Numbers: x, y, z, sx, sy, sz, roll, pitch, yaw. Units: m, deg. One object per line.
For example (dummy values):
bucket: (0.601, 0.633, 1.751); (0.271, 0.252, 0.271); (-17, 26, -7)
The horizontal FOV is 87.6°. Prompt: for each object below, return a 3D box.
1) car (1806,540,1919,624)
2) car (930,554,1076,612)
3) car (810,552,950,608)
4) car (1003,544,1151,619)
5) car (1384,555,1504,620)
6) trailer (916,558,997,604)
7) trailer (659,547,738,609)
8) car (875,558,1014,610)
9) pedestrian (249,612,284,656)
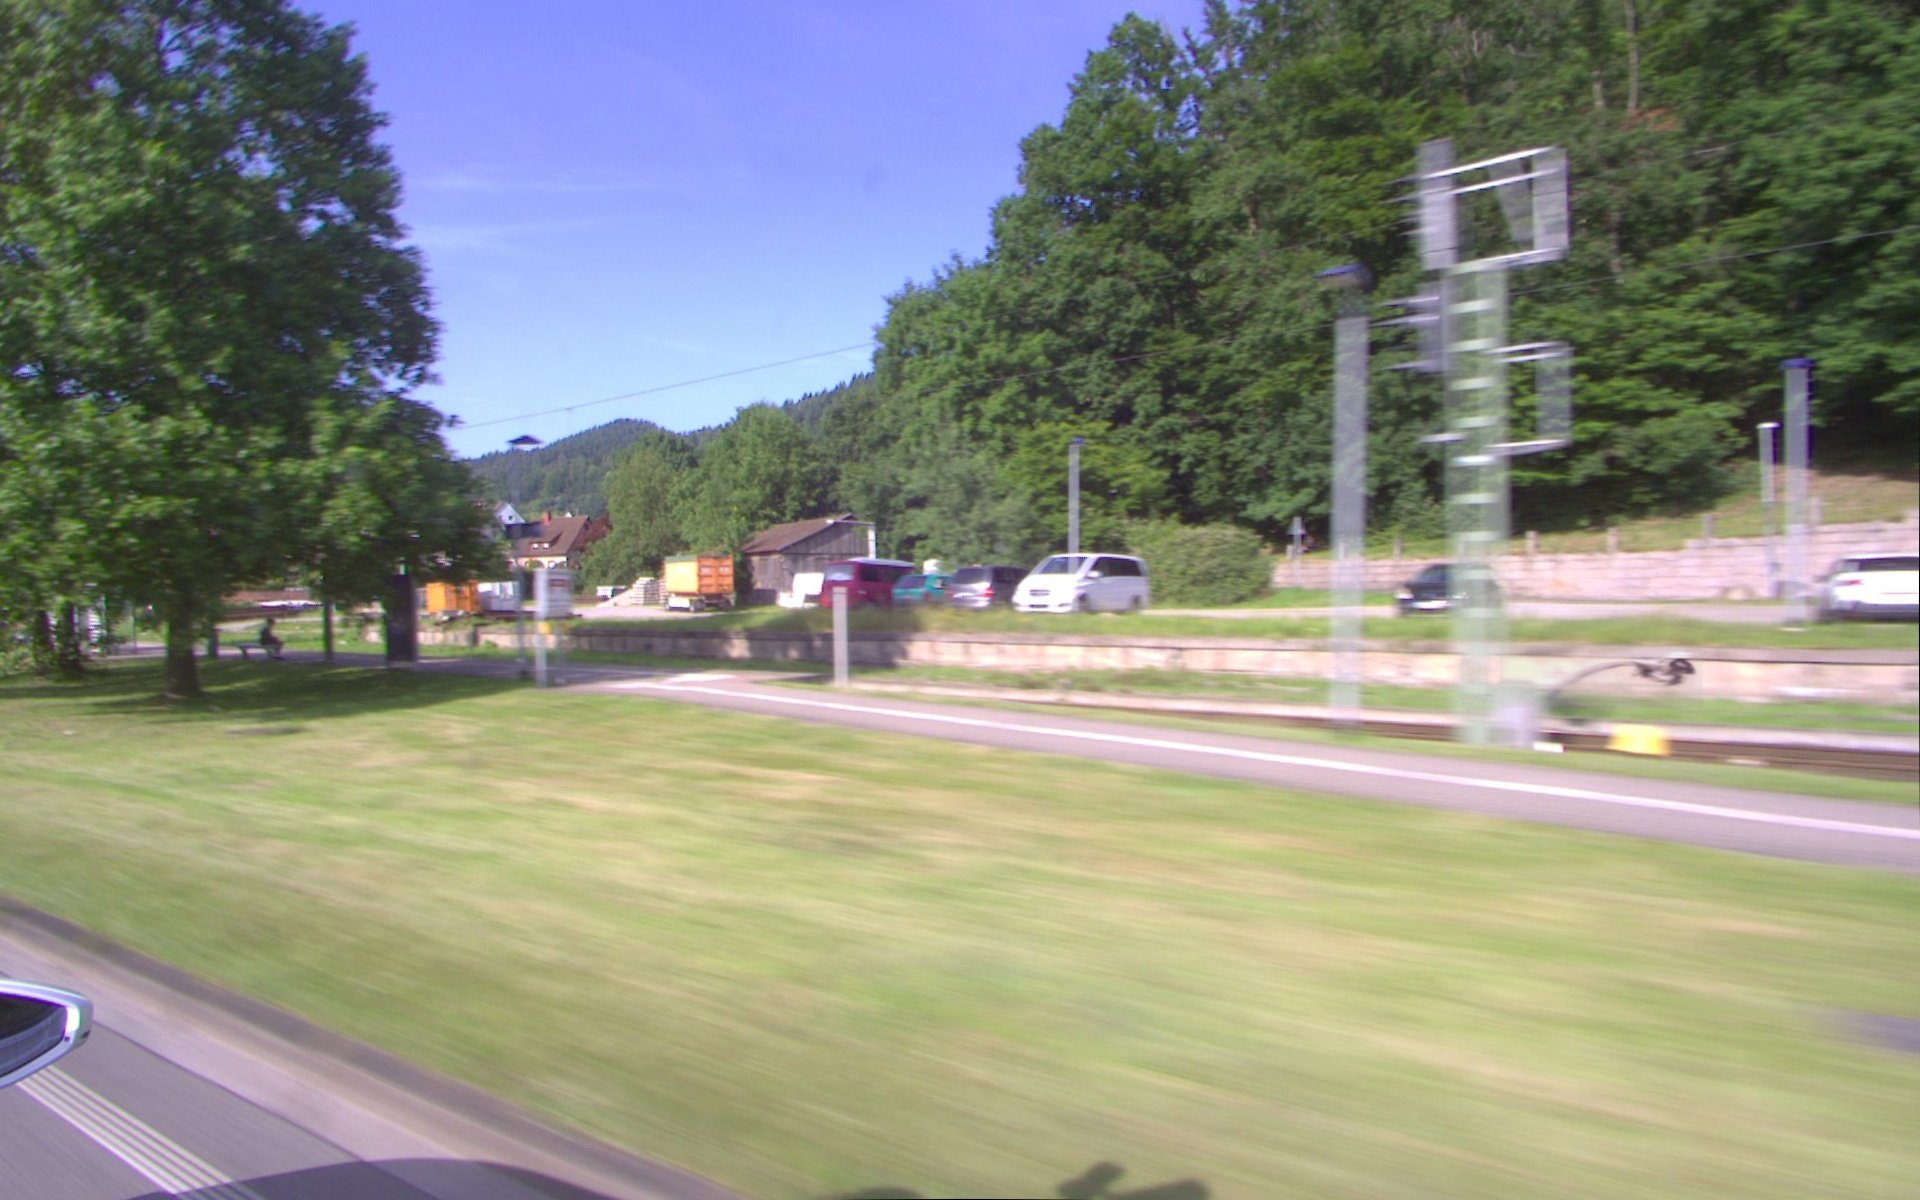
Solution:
car: (17.225, -0.278, 18.746); (1.786, 1.416, 4.083); (0, -1, 36)
car: (1.406, -0.442, 30.385); (2.113, 1.608, 4.936); (0, -1, 36)
car: (-2.561, -0.590, 33.299); (1.910, 1.713, 4.936); (0, -1, 36)
car: (3.464, -0.446, 28.776); (2.113, 1.969, 4.936); (0, -1, 36)
car: (11.297, -0.227, 23.243); (1.807, 1.361, 4.252); (0, -1, 36)
trailer: (-0.166, -0.930, 49.757); (3.656, 2.219, 1.806); (-1, 0, -35)
trailer: (-17.643, -1.380, 67.178); (2.580, 3.946, 7.681); (-2, 1, -34)
car: (-0.381, -0.443, 31.825); (1.870, 1.487, 4.936); (0, -1, 36)
pedestrian: (-19.066, 0.929, 27.522); (0.719, 1.177, 0.631); (0, 2, 45)
